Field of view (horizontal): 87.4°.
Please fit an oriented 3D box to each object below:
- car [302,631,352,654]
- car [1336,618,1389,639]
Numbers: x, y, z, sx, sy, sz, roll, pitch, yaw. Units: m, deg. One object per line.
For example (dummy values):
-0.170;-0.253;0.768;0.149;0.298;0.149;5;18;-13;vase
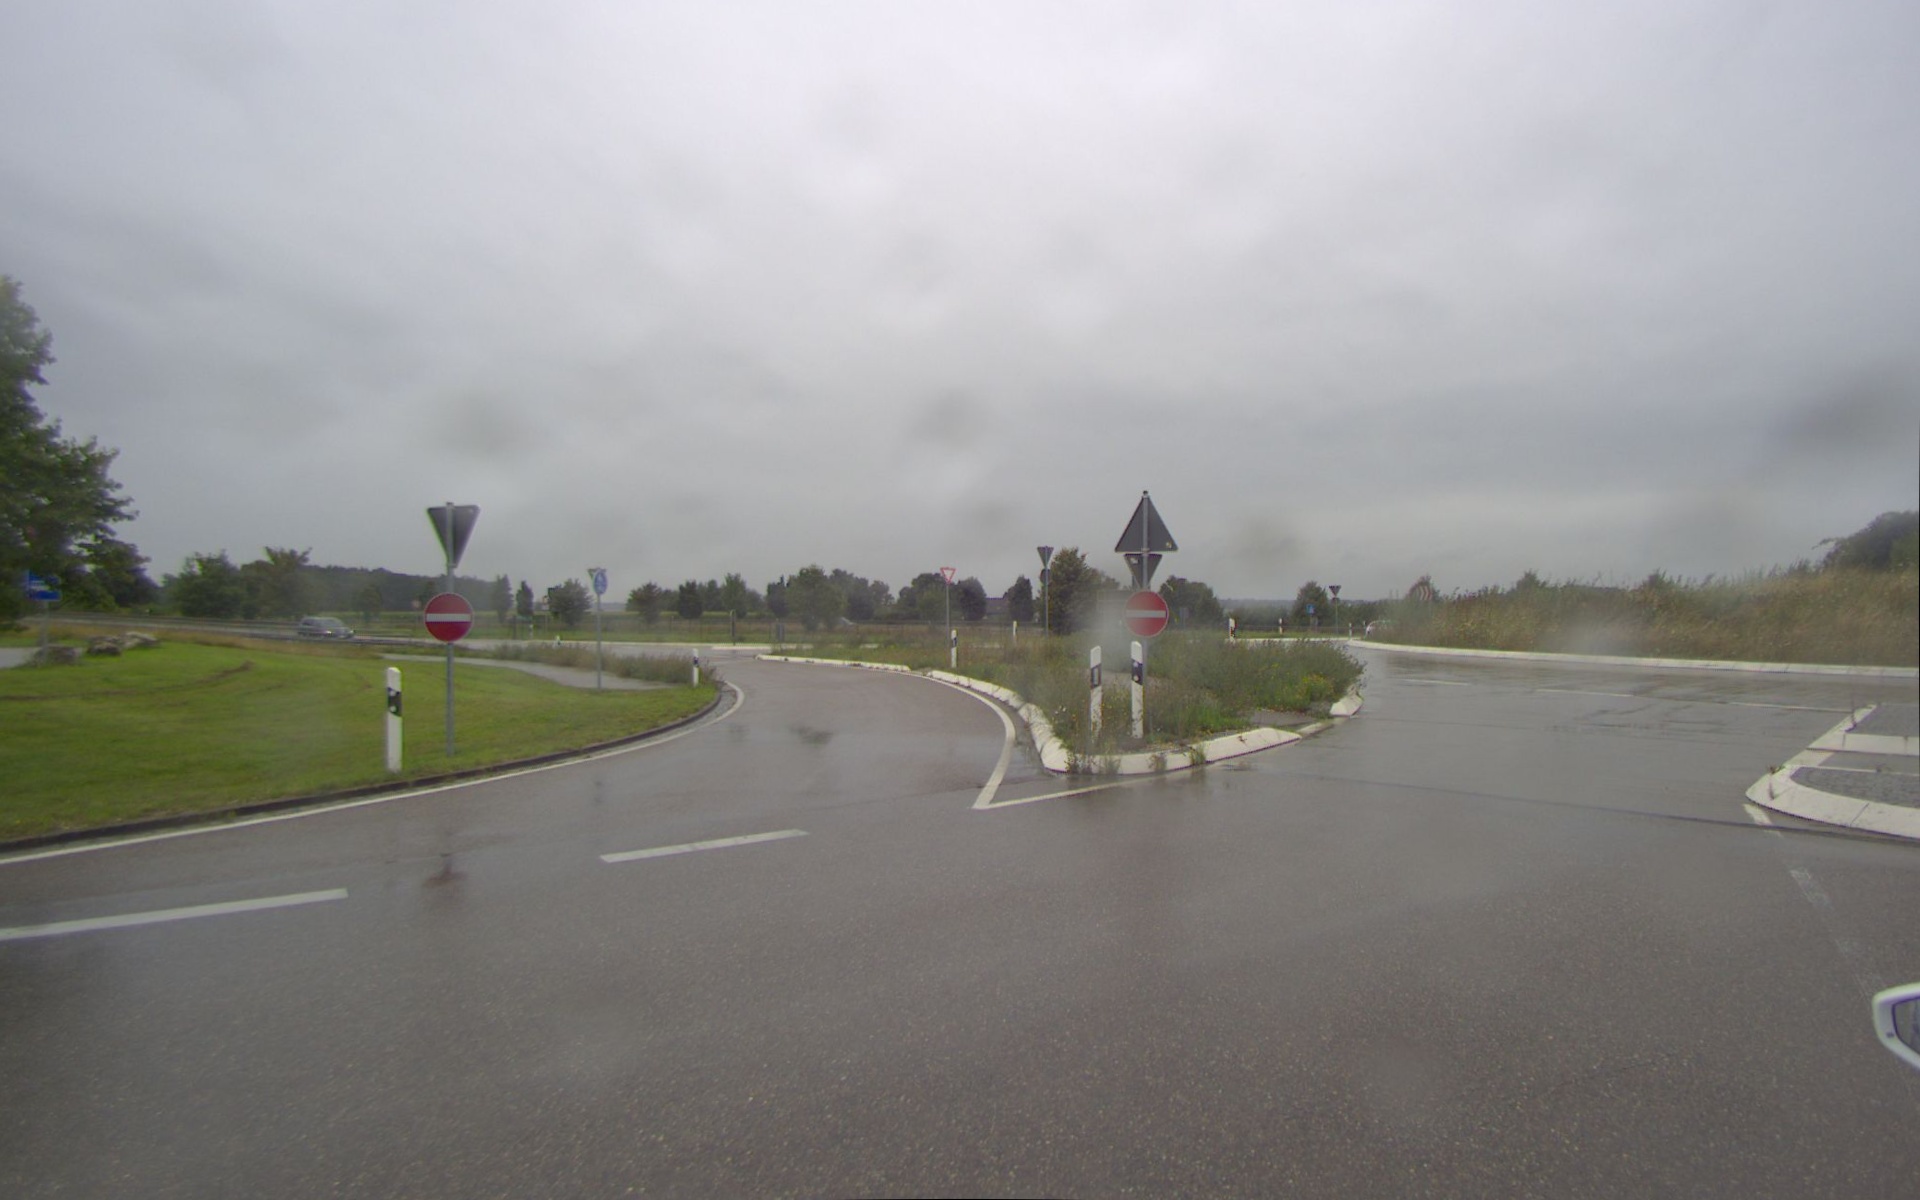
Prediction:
-41.753;2.806;66.232;3.696;1.472;1.581;-1;-2;37;car
29.261;2.089;73.167;1.622;1.445;4.315;1;-2;-8;car
